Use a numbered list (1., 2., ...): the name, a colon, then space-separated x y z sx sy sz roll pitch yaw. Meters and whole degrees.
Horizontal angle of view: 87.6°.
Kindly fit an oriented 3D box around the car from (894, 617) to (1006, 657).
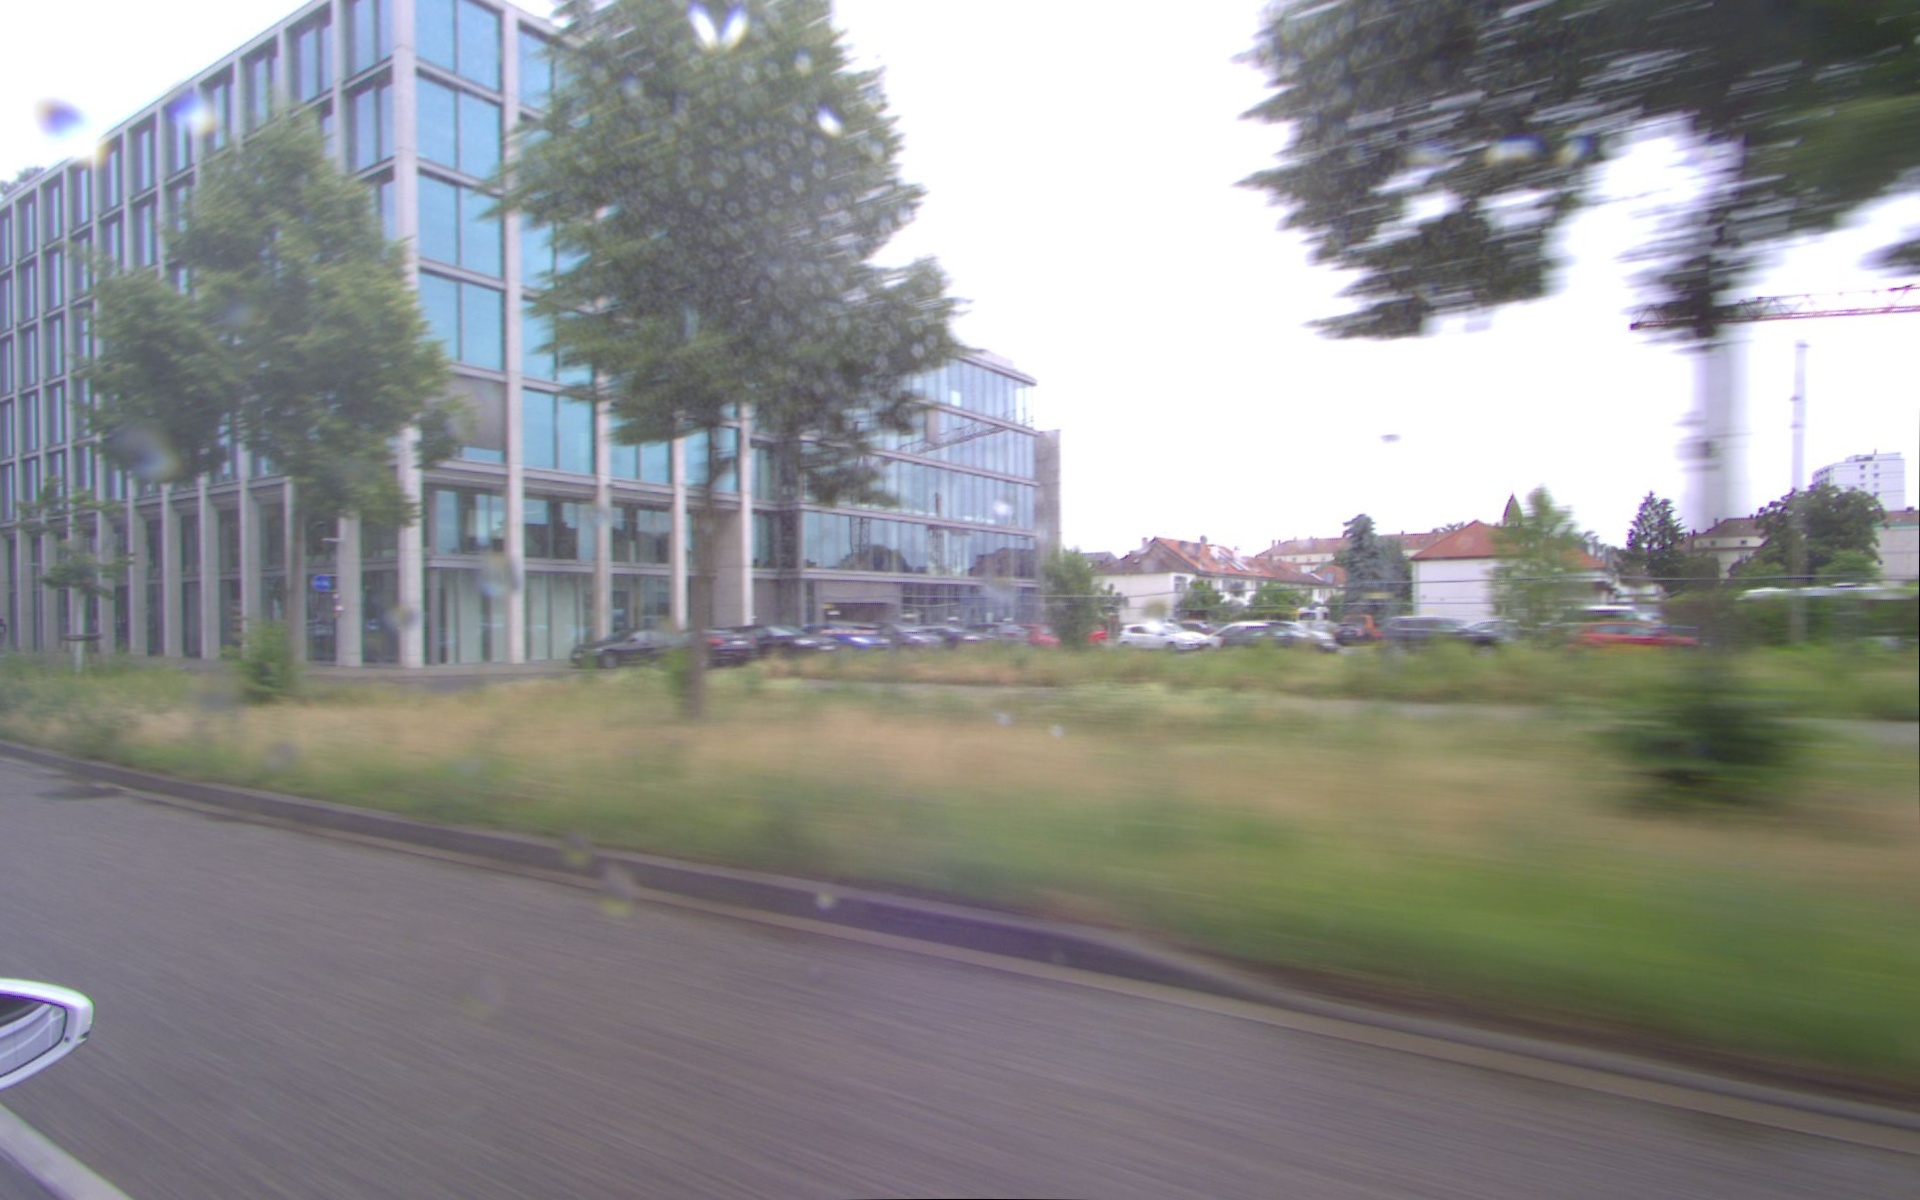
1. car: -0.418 1.396 38.786 4.176 1.494 1.780 -1 -1 37

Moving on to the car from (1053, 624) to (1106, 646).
1. car: 8.004 2.310 66.828 1.837 1.434 3.974 -1 -1 36

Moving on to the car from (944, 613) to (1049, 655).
1. car: 1.460 1.367 40.931 3.949 1.622 1.849 -1 -1 37

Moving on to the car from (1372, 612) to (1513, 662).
1. car: 16.799 1.256 34.944 4.178 1.622 1.849 -1 -1 37

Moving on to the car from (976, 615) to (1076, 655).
1. car: 2.803 1.467 42.772 3.949 1.622 1.849 -1 -1 37

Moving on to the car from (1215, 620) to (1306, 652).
1. car: 14.880 1.790 49.662 3.981 1.369 1.691 -5 -4 35

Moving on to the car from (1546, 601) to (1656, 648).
1. car: 28.979 1.097 45.384 4.105 2.032 1.693 0 -1 33

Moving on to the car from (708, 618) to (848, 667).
1. car: -5.846 1.304 31.846 4.498 1.474 1.849 -1 -1 37

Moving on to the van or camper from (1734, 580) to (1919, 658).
1. van or camper: 36.578 0.791 41.628 6.679 3.033 2.902 -1 -1 32

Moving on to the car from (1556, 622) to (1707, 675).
1. car: 21.595 1.512 32.268 3.949 1.622 1.849 -1 -1 37

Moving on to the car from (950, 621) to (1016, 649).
1. car: 1.347 1.987 57.620 1.836 1.457 3.974 1 0 36

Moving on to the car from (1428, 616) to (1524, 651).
1. car: 24.789 1.573 48.152 3.974 1.602 1.693 -1 -1 32

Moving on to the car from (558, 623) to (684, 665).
1. car: -12.856 1.620 38.152 1.955 1.457 4.205 2 0 36

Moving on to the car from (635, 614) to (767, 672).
1. car: -7.735 1.220 29.771 3.951 1.601 1.847 -1 -1 39

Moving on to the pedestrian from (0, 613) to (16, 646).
1. pedestrian: -51.953 1.585 54.399 0.848 1.738 0.715 0 2 31

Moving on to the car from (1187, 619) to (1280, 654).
1. car: 13.125 1.770 48.124 3.978 1.463 1.693 -5 -4 32

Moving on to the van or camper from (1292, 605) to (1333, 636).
1. van or camper: 30.718 1.773 87.150 2.065 2.617 5.599 0 -1 34

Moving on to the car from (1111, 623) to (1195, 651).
1. car: 9.987 1.893 51.825 3.972 1.370 1.694 -1 -1 31

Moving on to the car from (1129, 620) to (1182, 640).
1. car: 16.340 2.482 83.799 3.942 1.602 1.852 -1 -1 31

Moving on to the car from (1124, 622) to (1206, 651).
1. car: 11.010 1.939 53.787 3.971 1.516 1.853 -1 -1 29

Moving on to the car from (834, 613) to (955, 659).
1. car: -2.458 1.297 37.046 4.359 1.622 1.849 -1 -1 37

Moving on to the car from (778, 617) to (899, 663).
1. car: -4.192 1.327 34.337 3.949 1.474 1.849 -1 -1 37
